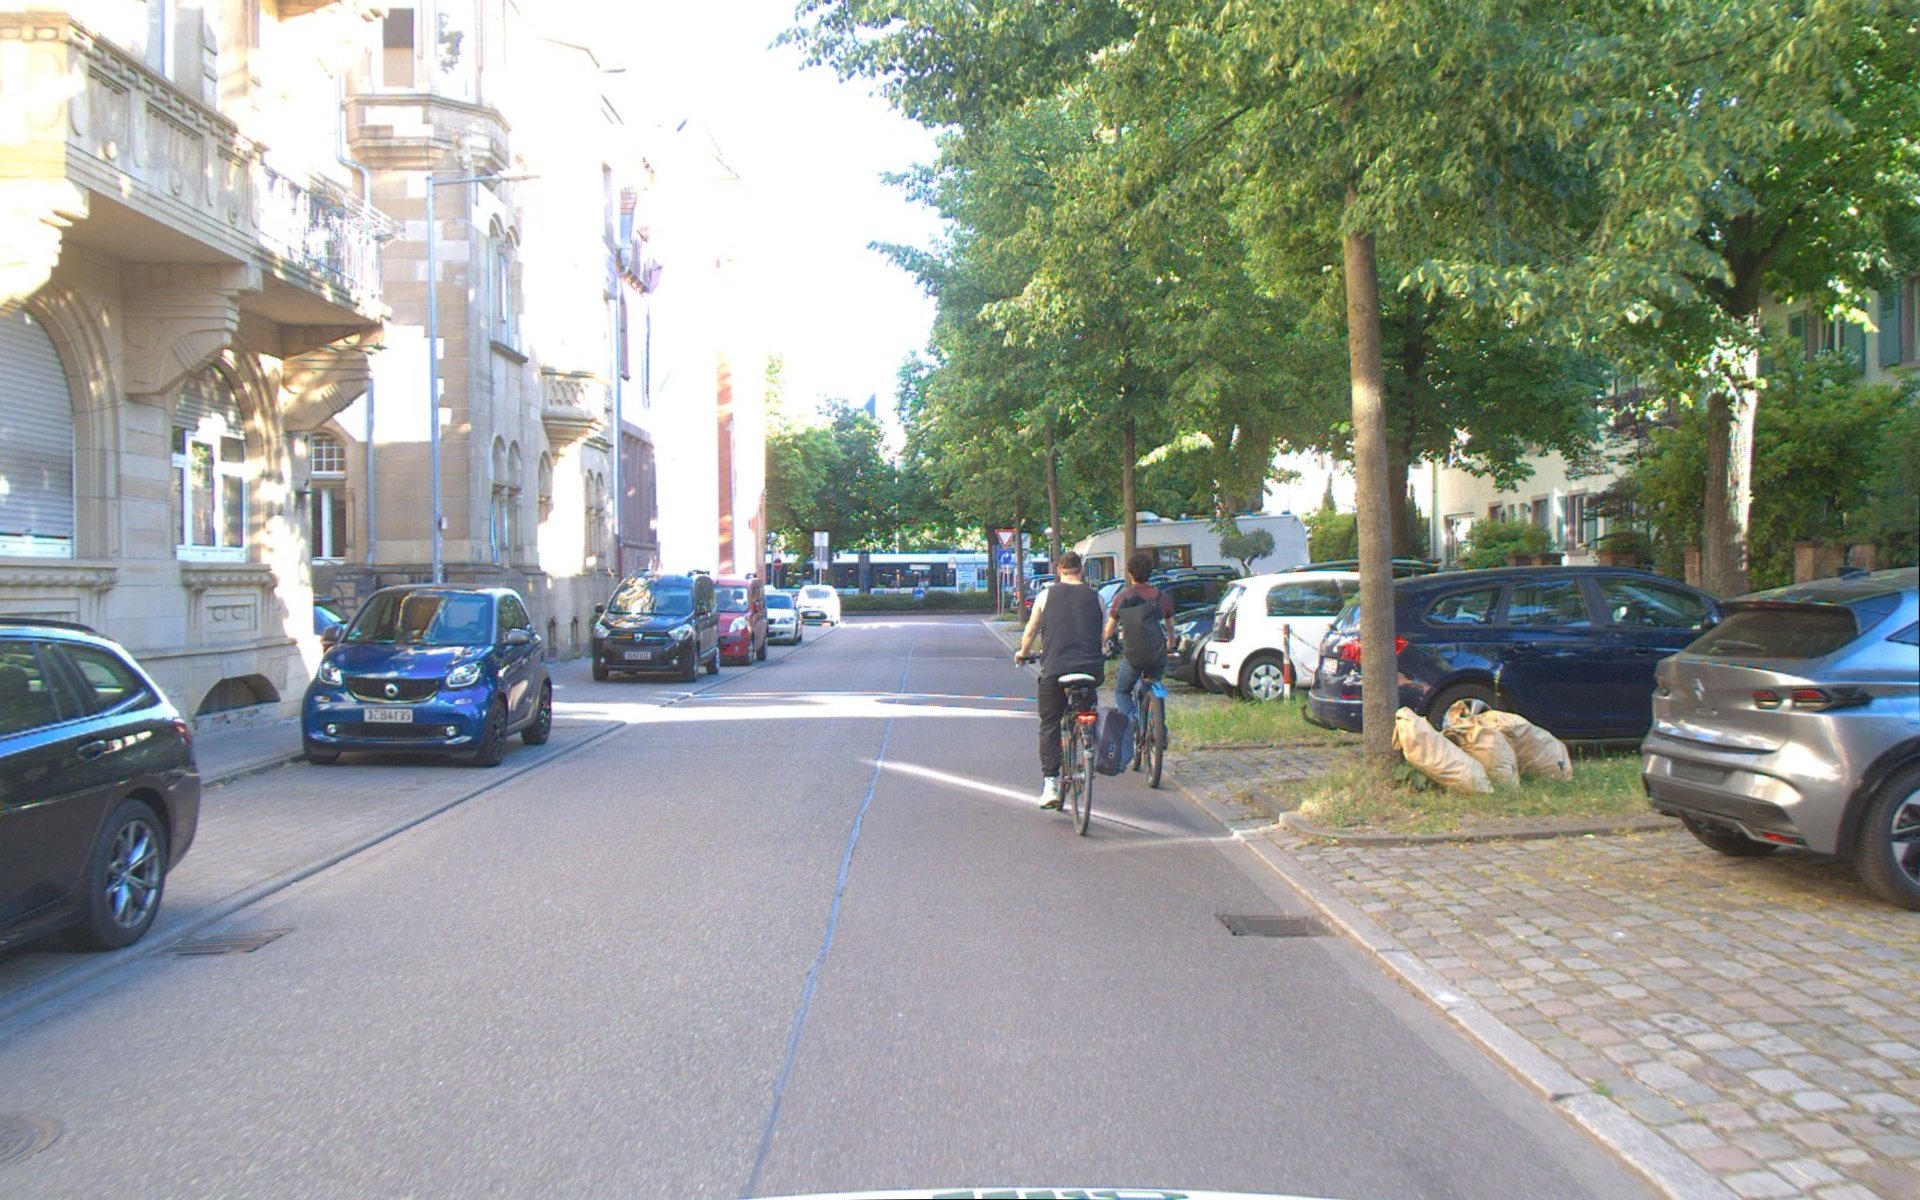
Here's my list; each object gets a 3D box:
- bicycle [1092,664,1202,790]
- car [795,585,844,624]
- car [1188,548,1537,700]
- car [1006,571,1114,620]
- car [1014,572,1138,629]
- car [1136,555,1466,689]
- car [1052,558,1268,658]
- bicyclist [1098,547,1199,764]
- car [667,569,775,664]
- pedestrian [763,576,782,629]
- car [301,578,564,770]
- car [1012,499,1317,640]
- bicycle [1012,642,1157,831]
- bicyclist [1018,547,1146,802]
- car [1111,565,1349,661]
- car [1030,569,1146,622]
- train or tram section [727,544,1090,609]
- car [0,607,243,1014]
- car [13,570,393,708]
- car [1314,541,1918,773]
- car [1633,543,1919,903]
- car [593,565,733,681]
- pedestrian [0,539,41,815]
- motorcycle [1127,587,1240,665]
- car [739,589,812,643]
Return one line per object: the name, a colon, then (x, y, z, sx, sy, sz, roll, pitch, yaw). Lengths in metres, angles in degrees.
bicycle: (1.450, 0.969, 13.097, 0.620, 0.813, 1.832, -1, 1, -1)
car: (-5.376, 0.148, 63.708, 1.551, 1.399, 4.131, 1, 1, 0)
car: (4.681, 0.291, 19.618, 3.695, 1.628, 1.691, -2, -1, 1)
car: (3.763, -0.162, 62.835, 3.907, 1.835, 1.833, 0, 0, -3)
car: (3.818, 0.025, 54.949, 3.907, 1.835, 1.833, 0, 0, -3)
car: (4.493, 0.302, 22.213, 4.053, 1.628, 1.702, -2, -1, 1)
car: (3.973, 0.159, 33.271, 4.002, 1.678, 1.640, -4, 0, -3)
bicyclist: (1.487, 0.422, 13.175, 0.675, 1.655, 0.998, 0, 0, -1)
car: (-5.010, 0.291, 35.111, 1.654, 1.857, 4.272, 1, 1, 0)
pedestrian: (-6.395, 0.095, 56.422, 0.596, 1.793, 0.432, 0, 0, -1)
car: (-4.730, 0.601, 15.176, 1.564, 1.514, 2.735, 3, 1, -2)
car: (4.925, -0.742, 40.573, 7.006, 3.030, 2.463, -3, 0, -4)
bicycle: (0.768, 0.834, 10.790, 0.722, 1.072, 1.955, 1, 0, -2)
bicyclist: (0.776, 0.467, 10.755, 0.715, 1.575, 0.884, 1, -1, -2)
car: (4.946, 0.255, 30.611, 4.056, 1.627, 1.701, -1, -1, -4)
car: (4.528, -0.164, 58.716, 3.907, 1.835, 1.833, 0, 0, -3)
train or tram section: (-3.011, -1.399, 106.208, 23.485, 3.773, 4.255, 0, 0, -24)
car: (-4.418, 0.815, 6.011, 1.641, 1.455, 4.550, 1, 1, 0)
car: (-9.739, 0.468, 21.512, 4.114, 1.697, 1.718, 0, 1, -2)
car: (5.102, 0.446, 13.267, 4.136, 1.628, 1.691, -2, -1, 1)
car: (5.505, 0.466, 7.841, 3.953, 1.479, 1.689, -1, 0, -5)
car: (-5.015, 0.327, 28.418, 1.607, 1.814, 4.354, 1, 1, 0)
pedestrian: (-6.613, 0.493, 10.691, 0.919, 1.773, 0.735, 0, 0, -1)
motorcycle: (3.450, 0.401, 25.561, 1.574, 1.160, 0.671, -1, 0, 33)
car: (-5.063, 0.408, 45.788, 1.551, 1.367, 4.131, 1, 1, 0)
